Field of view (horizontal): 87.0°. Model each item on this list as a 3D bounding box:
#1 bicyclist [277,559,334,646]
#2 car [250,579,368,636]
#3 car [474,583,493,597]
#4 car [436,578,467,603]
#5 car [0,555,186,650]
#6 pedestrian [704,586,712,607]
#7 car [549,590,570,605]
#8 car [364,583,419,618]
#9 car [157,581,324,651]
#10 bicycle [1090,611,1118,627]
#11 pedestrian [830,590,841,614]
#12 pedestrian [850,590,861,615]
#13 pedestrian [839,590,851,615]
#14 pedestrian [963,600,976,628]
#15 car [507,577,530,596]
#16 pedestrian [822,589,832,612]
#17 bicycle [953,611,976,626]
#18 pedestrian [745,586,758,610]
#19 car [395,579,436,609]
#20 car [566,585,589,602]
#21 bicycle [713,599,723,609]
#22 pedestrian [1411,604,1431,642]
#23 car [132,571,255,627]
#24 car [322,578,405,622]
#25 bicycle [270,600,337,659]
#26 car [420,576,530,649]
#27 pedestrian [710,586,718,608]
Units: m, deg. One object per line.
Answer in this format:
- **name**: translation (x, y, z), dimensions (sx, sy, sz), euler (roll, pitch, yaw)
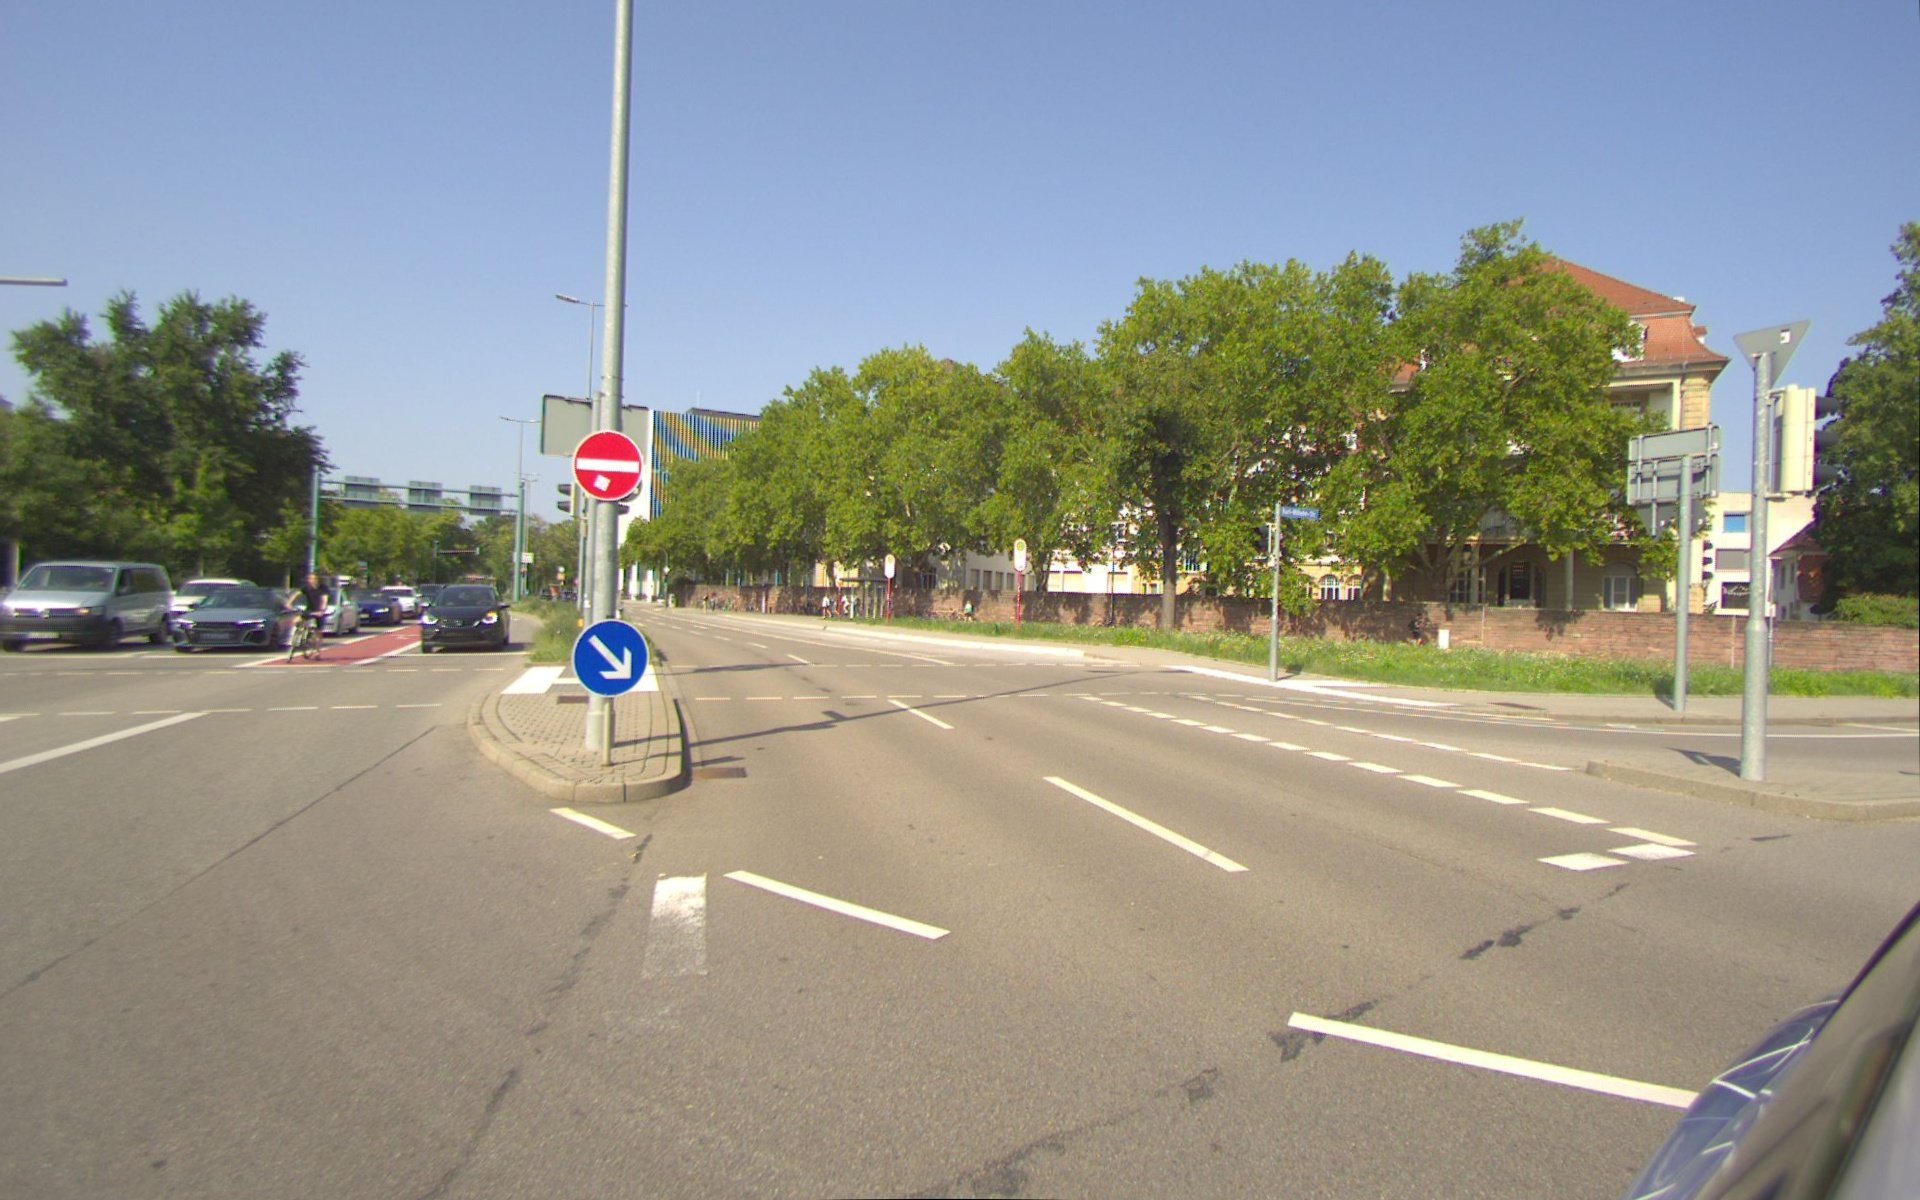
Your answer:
- **bicyclist**: translation (-12.927, 0.048, 20.008), dimensions (0.733, 1.656, 0.877), euler (2, -1, -22)
- **car**: translation (-19.376, 0.185, 30.355), dimensions (1.958, 1.525, 4.444), euler (2, 0, -20)
- **car**: translation (-54.855, -1.151, 116.544), dimensions (1.893, 1.547, 4.302), euler (2, 0, -26)
- **car**: translation (-37.708, -0.714, 75.133), dimensions (1.893, 1.681, 4.302), euler (2, 0, -26)
- **car**: translation (-19.589, 0.023, 22.884), dimensions (1.808, 1.898, 4.984), euler (2, 0, -20)
- **pedestrian**: translation (-21.116, -0.276, 84.705), dimensions (0.476, 1.763, 0.506), euler (2, -3, -27)
- **car**: translation (-44.982, -0.314, 113.653), dimensions (1.677, 1.594, 4.006), euler (2, 0, -28)
- **car**: translation (-26.282, -0.001, 46.877), dimensions (1.893, 1.525, 4.302), euler (2, 0, -26)
- **car**: translation (-16.618, 0.315, 23.677), dimensions (1.871, 1.418, 4.931), euler (2, 0, -20)
- **bicycle**: translation (7.994, 1.040, 56.348), dimensions (1.543, 0.846, 0.427), euler (2, 0, 40)
- **pedestrian**: translation (-8.822, 0.169, 71.466), dimensions (0.475, 1.673, 0.593), euler (3, -4, -43)
- **pedestrian**: translation (-7.153, 0.200, 69.305), dimensions (0.475, 1.673, 0.593), euler (3, -4, -43)
- **pedestrian**: translation (-7.797, 0.200, 68.433), dimensions (0.511, 1.673, 0.593), euler (3, -4, -43)
- **pedestrian**: translation (0.560, 0.875, 61.590), dimensions (0.592, 1.673, 0.475), euler (-2, -4, 43)
- **car**: translation (-52.792, -1.576, 121.019), dimensions (1.882, 2.040, 4.001), euler (3, -3, -32)
- **pedestrian**: translation (-9.322, 0.052, 70.918), dimensions (0.501, 1.592, 0.526), euler (-2, -4, 45)
- **bicycle**: translation (0.265, 1.159, 63.151), dimensions (1.544, 0.846, 0.427), euler (2, 0, 43)
- **pedestrian**: translation (-17.548, -0.125, 85.133), dimensions (0.727, 1.979, 0.932), euler (3, -3, -34)
- **car**: translation (-32.446, -0.352, 60.405), dimensions (1.893, 1.681, 4.302), euler (2, 0, -26)
- **car**: translation (-38.953, -0.656, 102.939), dimensions (1.677, 1.594, 4.006), euler (2, 0, -27)
- **bicycle**: translation (-21.886, 0.380, 91.553), dimensions (0.425, 0.846, 1.551), euler (2, 0, -31)
- **pedestrian**: translation (20.931, 1.037, 45.959), dimensions (0.713, 1.705, 0.587), euler (2, -1, 33)
- **car**: translation (-22.845, -0.054, 30.346), dimensions (1.772, 1.525, 3.976), euler (2, 0, -20)
- **car**: translation (-22.749, -0.015, 38.777), dimensions (1.958, 1.525, 4.304), euler (2, 0, -20)
- **bicycle**: translation (-12.954, 0.562, 20.024), dimensions (0.754, 1.066, 1.779), euler (2, 0, -22)
- **car**: translation (-11.686, 0.252, 24.665), dimensions (1.815, 1.598, 4.724), euler (0, 1, -18)
- **pedestrian**: translation (-20.633, -0.259, 84.916), dimensions (0.476, 1.763, 0.506), euler (2, -3, -27)
